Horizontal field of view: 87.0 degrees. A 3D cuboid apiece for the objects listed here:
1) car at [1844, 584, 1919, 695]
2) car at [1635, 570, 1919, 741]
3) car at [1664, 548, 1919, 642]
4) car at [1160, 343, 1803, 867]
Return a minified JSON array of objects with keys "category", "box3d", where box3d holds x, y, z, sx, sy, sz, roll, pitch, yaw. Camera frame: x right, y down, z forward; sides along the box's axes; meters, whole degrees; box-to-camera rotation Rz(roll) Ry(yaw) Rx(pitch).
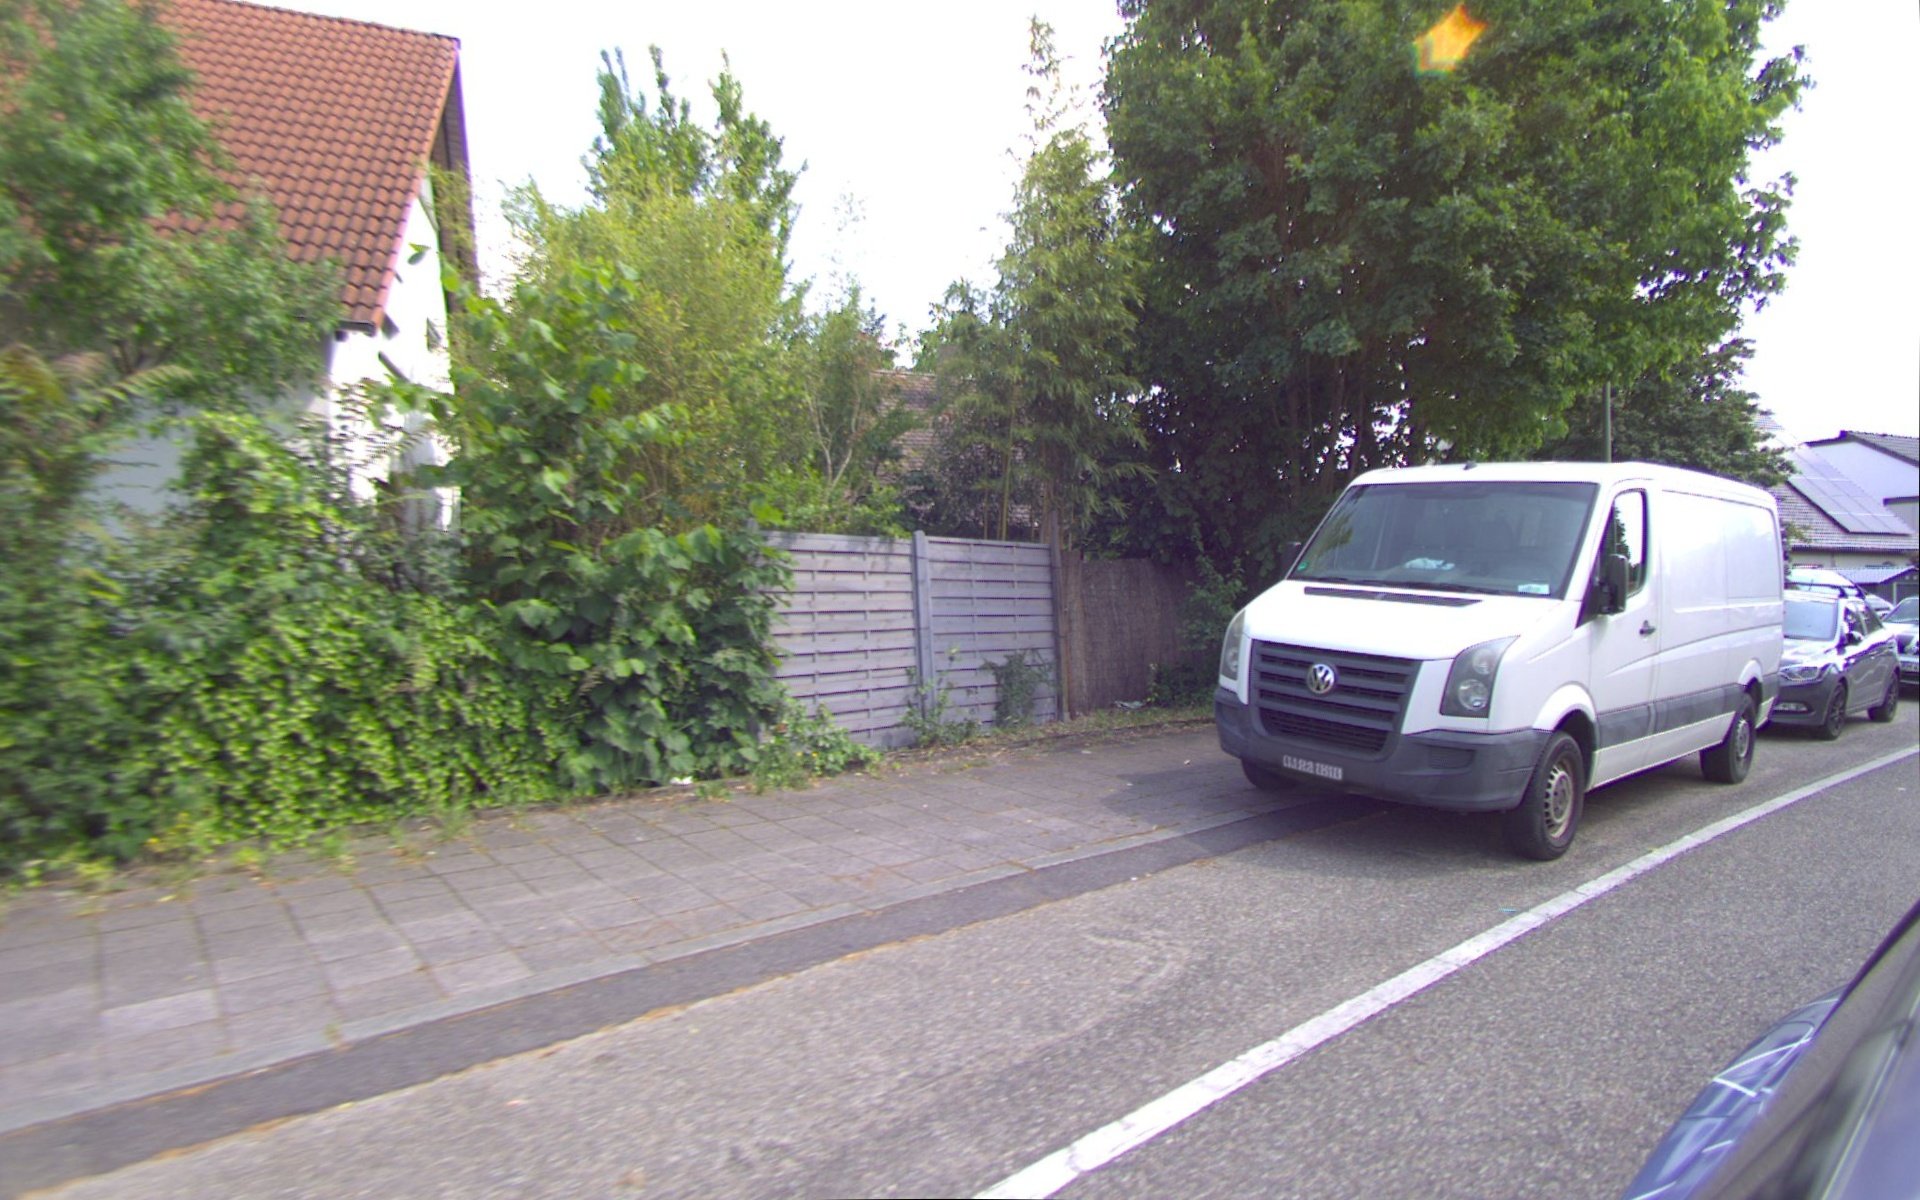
[{"category":"car","box3d":[15.142,0.542,15.039,4.369,1.531,1.747,0,0,-31]},{"category":"car","box3d":[9.402,0.509,11.449,4.048,1.605,1.722,0,0,-37]},{"category":"car","box3d":[20.521,-0.119,25.128,1.960,2.083,5.363,0,0,-5]},{"category":"car","box3d":[4.159,0.004,7.445,5.789,2.472,2.122,0,0,-40]}]
